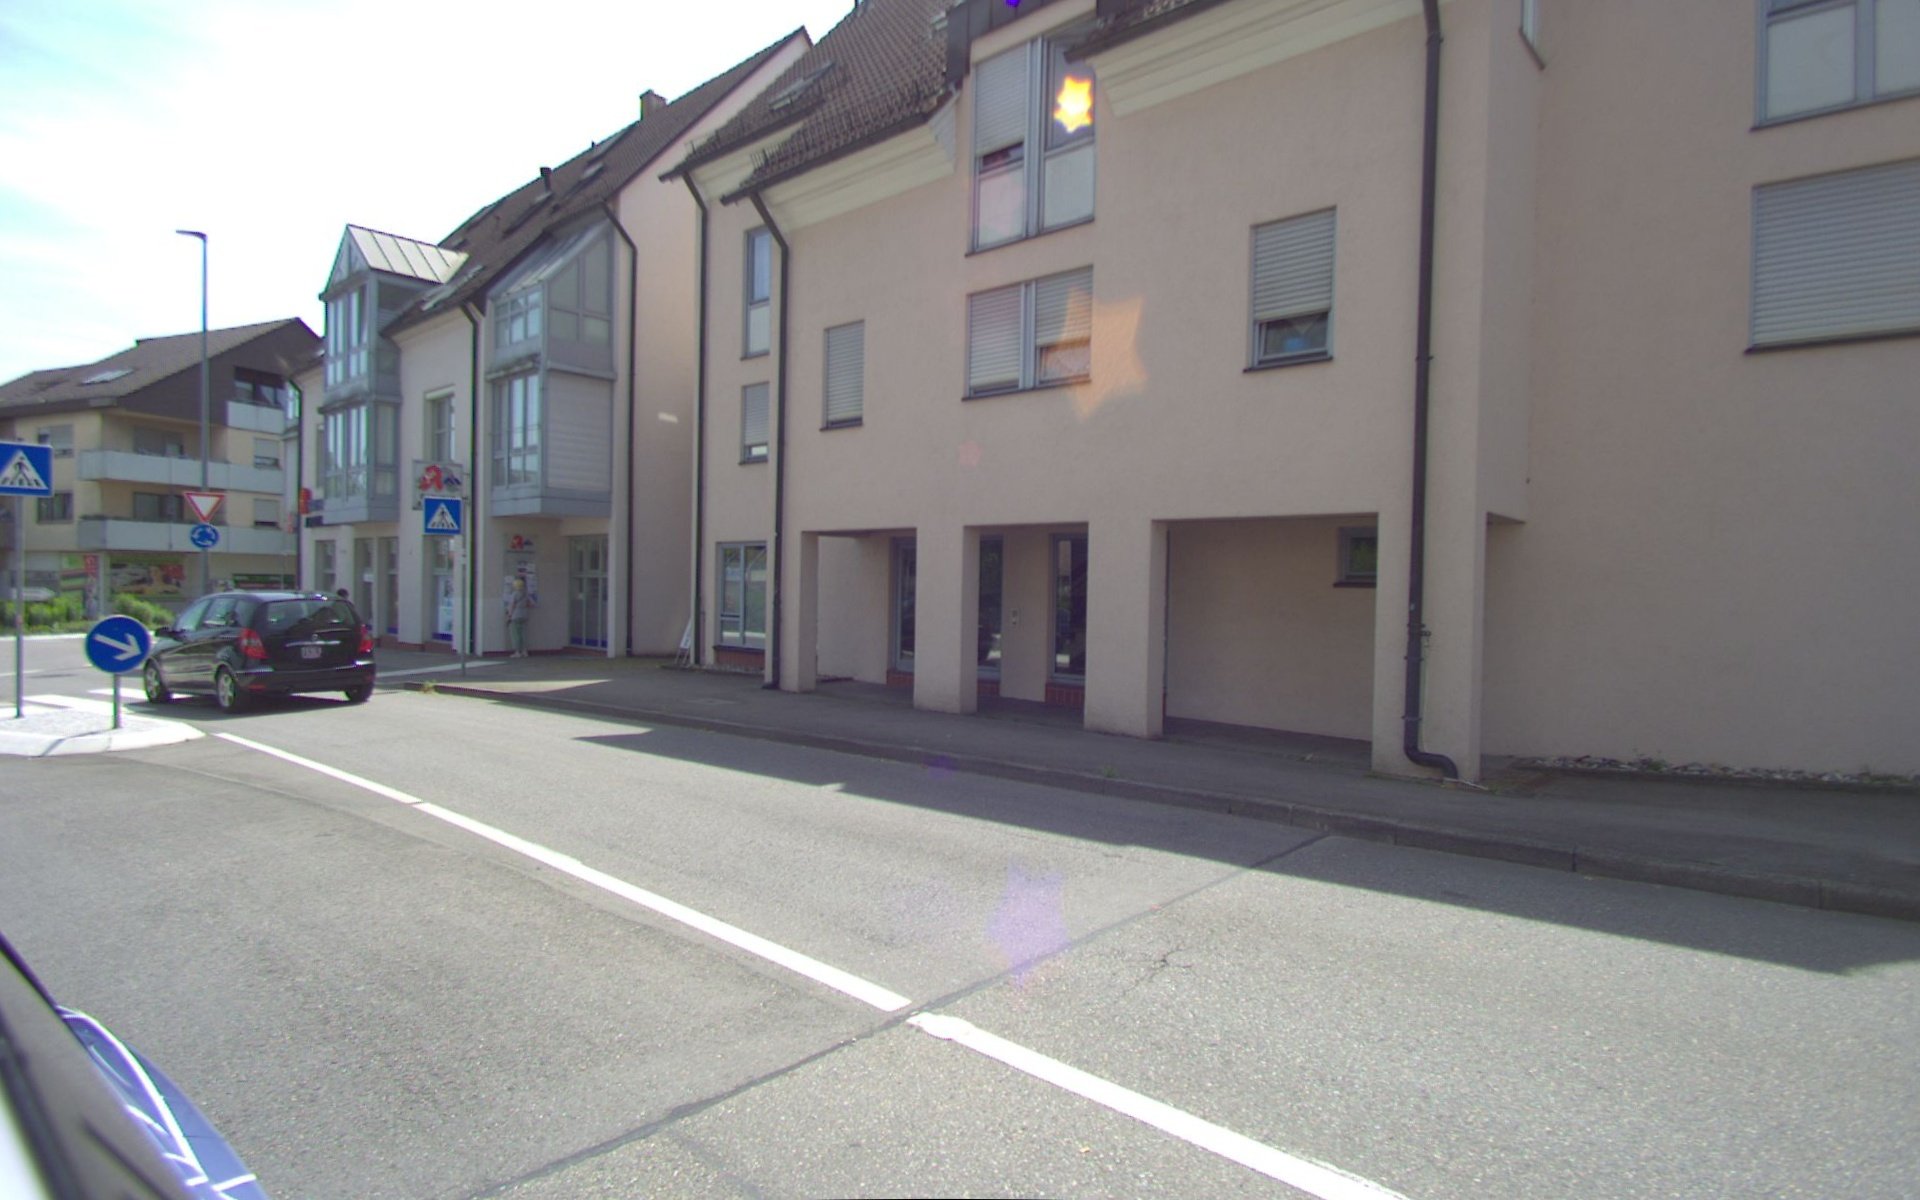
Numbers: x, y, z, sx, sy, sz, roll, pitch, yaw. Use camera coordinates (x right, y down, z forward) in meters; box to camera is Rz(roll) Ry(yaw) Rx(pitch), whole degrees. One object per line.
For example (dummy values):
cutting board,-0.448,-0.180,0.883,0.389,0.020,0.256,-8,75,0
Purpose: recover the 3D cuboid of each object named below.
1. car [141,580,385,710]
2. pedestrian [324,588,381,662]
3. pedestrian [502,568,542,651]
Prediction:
car,-9.941,0.541,14.338,3.939,1.596,1.735,0,1,38
pedestrian,-12.712,0.496,21.171,0.957,1.489,0.791,0,1,43
pedestrian,-9.389,0.194,21.695,0.569,1.722,0.580,-3,2,-44
